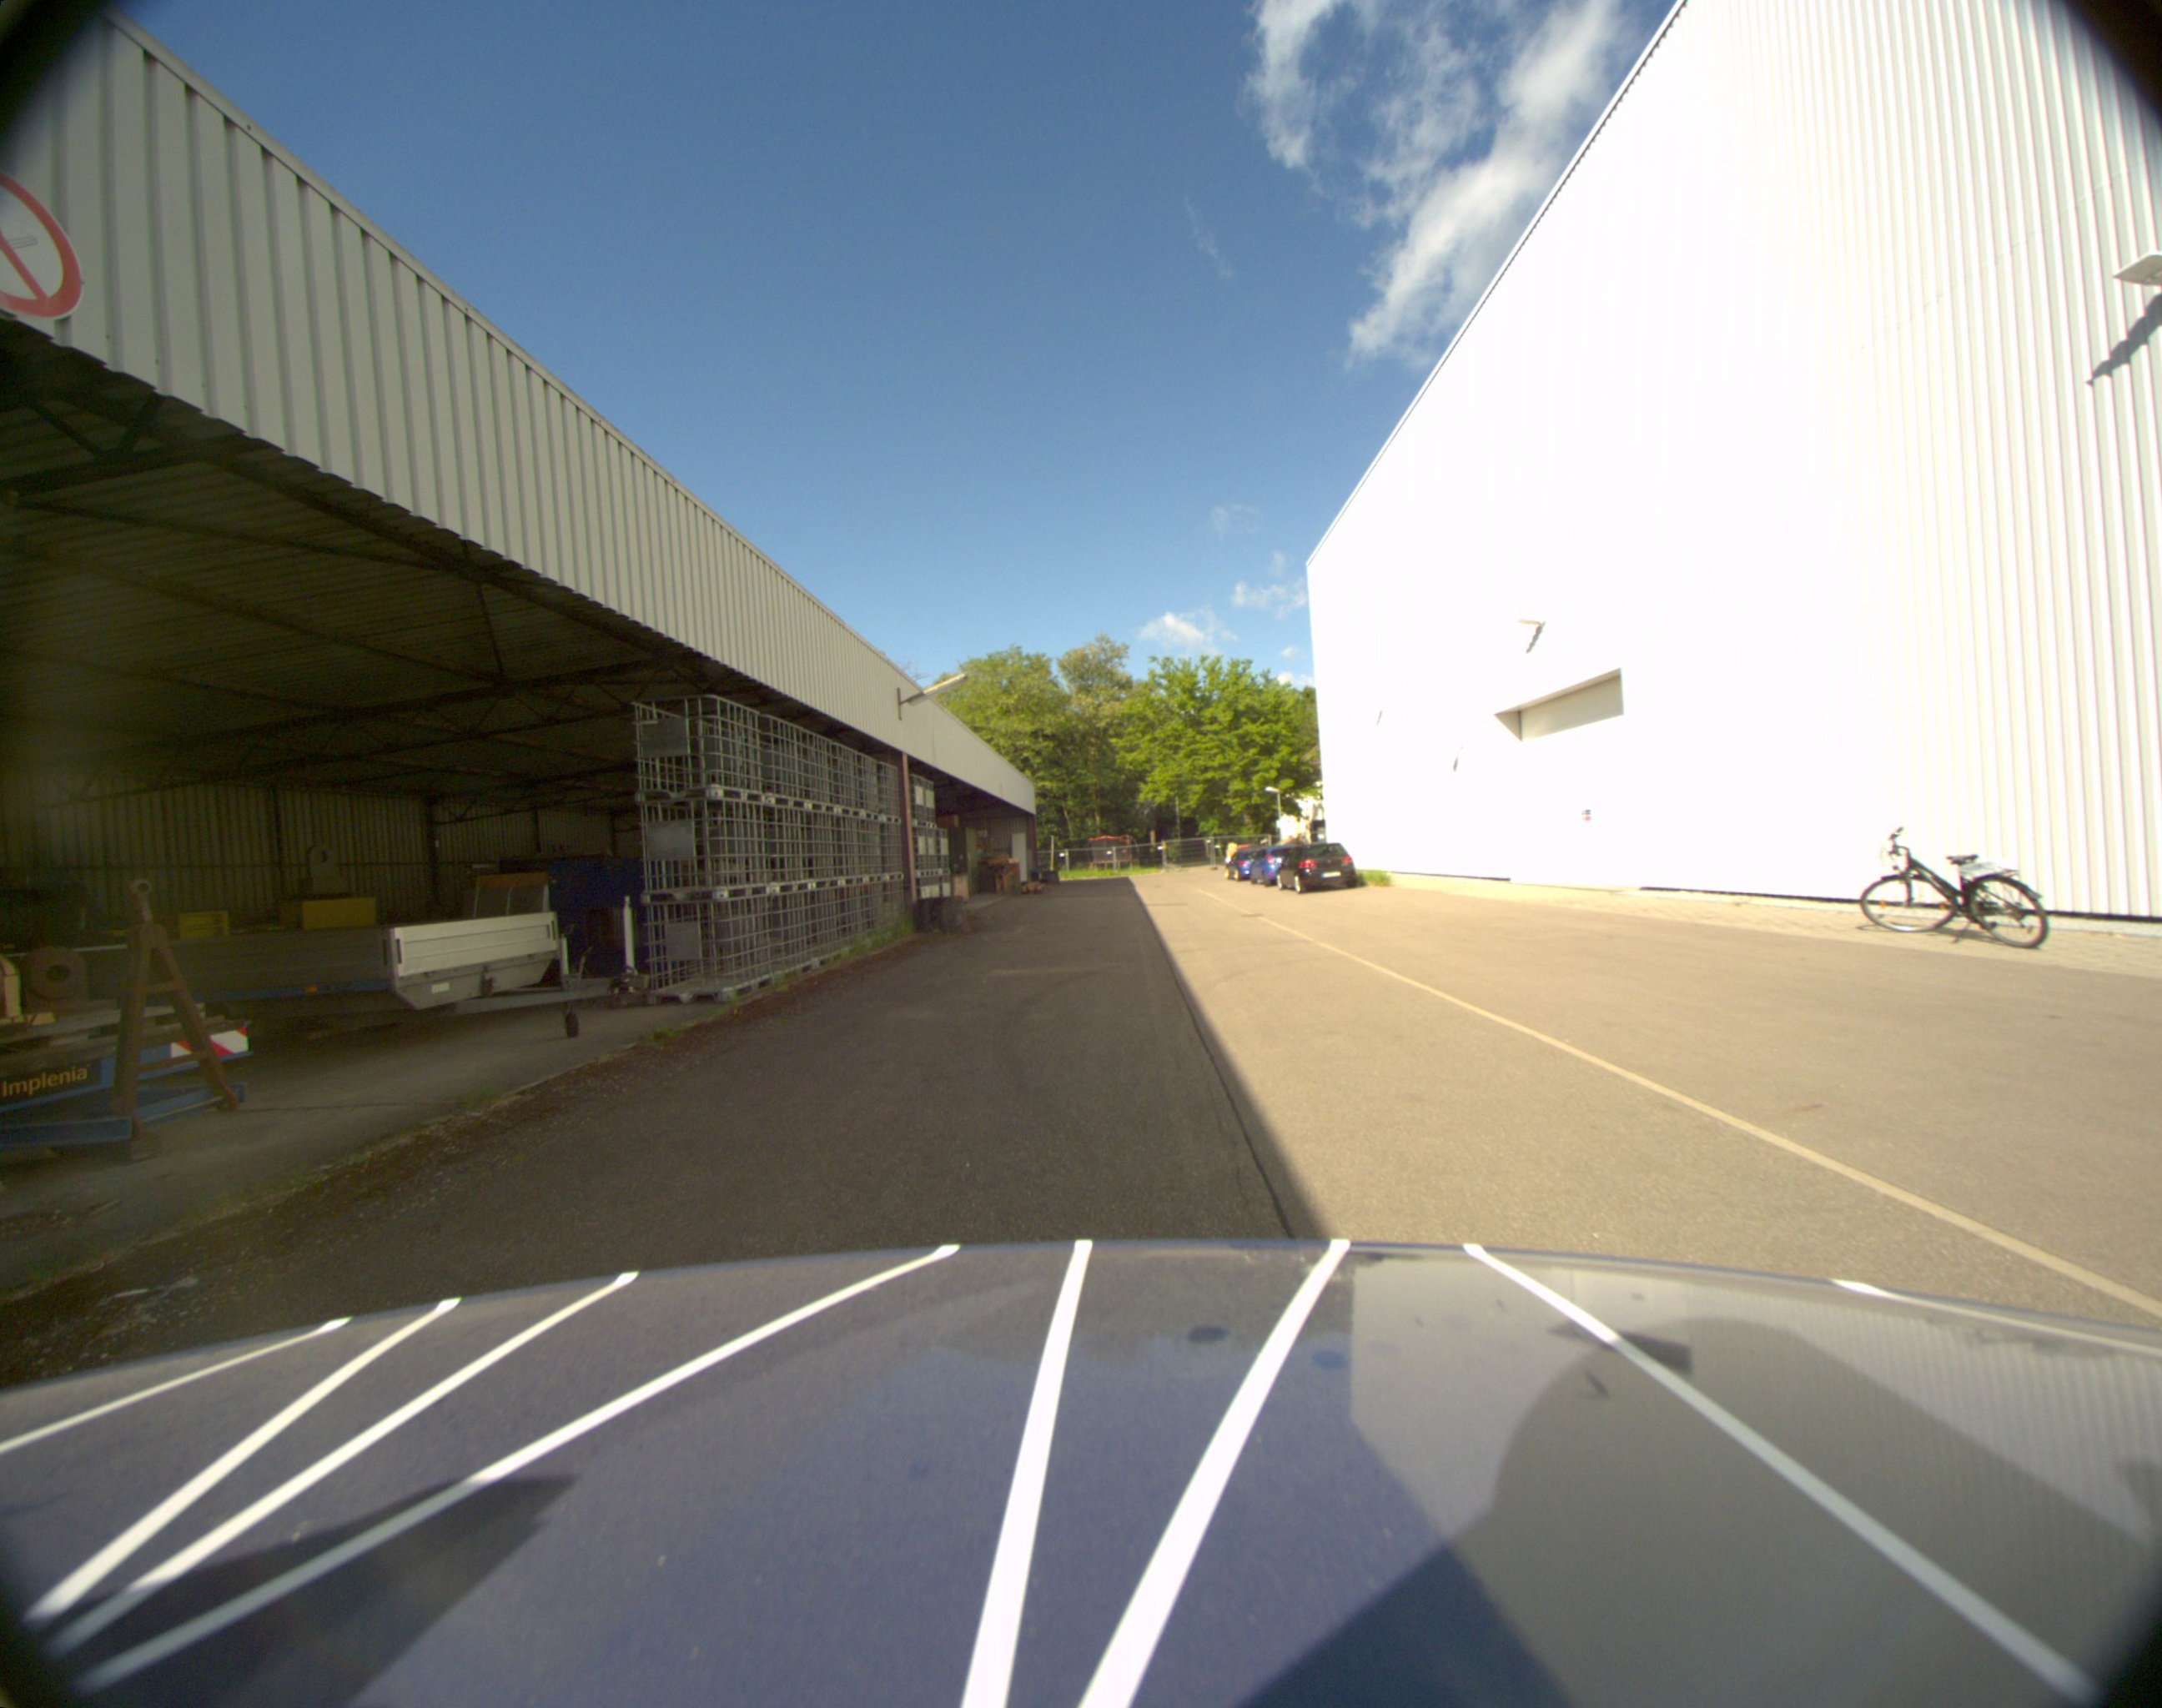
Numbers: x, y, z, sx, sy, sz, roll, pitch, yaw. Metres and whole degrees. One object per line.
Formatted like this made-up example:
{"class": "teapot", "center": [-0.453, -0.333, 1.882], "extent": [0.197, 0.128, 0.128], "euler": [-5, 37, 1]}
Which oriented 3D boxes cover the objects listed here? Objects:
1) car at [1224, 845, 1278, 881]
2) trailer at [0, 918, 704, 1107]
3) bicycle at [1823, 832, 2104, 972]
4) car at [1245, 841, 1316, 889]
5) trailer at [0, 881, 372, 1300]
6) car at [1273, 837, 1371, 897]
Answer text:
{"class": "car", "center": [7.625, 0.380, 34.385], "extent": [1.789, 1.431, 4.001], "euler": [-3, 0, 4]}
{"class": "trailer", "center": [-6.913, 1.369, 6.993], "extent": [5.836, 1.113, 2.029], "euler": [-3, 0, 2]}
{"class": "bicycle", "center": [8.673, 0.417, 7.634], "extent": [0.909, 1.136, 1.901], "euler": [-7, 0, 18]}
{"class": "car", "center": [7.475, 0.362, 28.883], "extent": [1.789, 1.513, 4.001], "euler": [-7, 0, 5]}
{"class": "trailer", "center": [-6.799, 1.106, 3.634], "extent": [4.879, 1.619, 2.029], "euler": [-3, 0, 2]}
{"class": "car", "center": [7.361, 0.358, 23.631], "extent": [1.895, 1.513, 4.001], "euler": [-7, 0, 5]}
